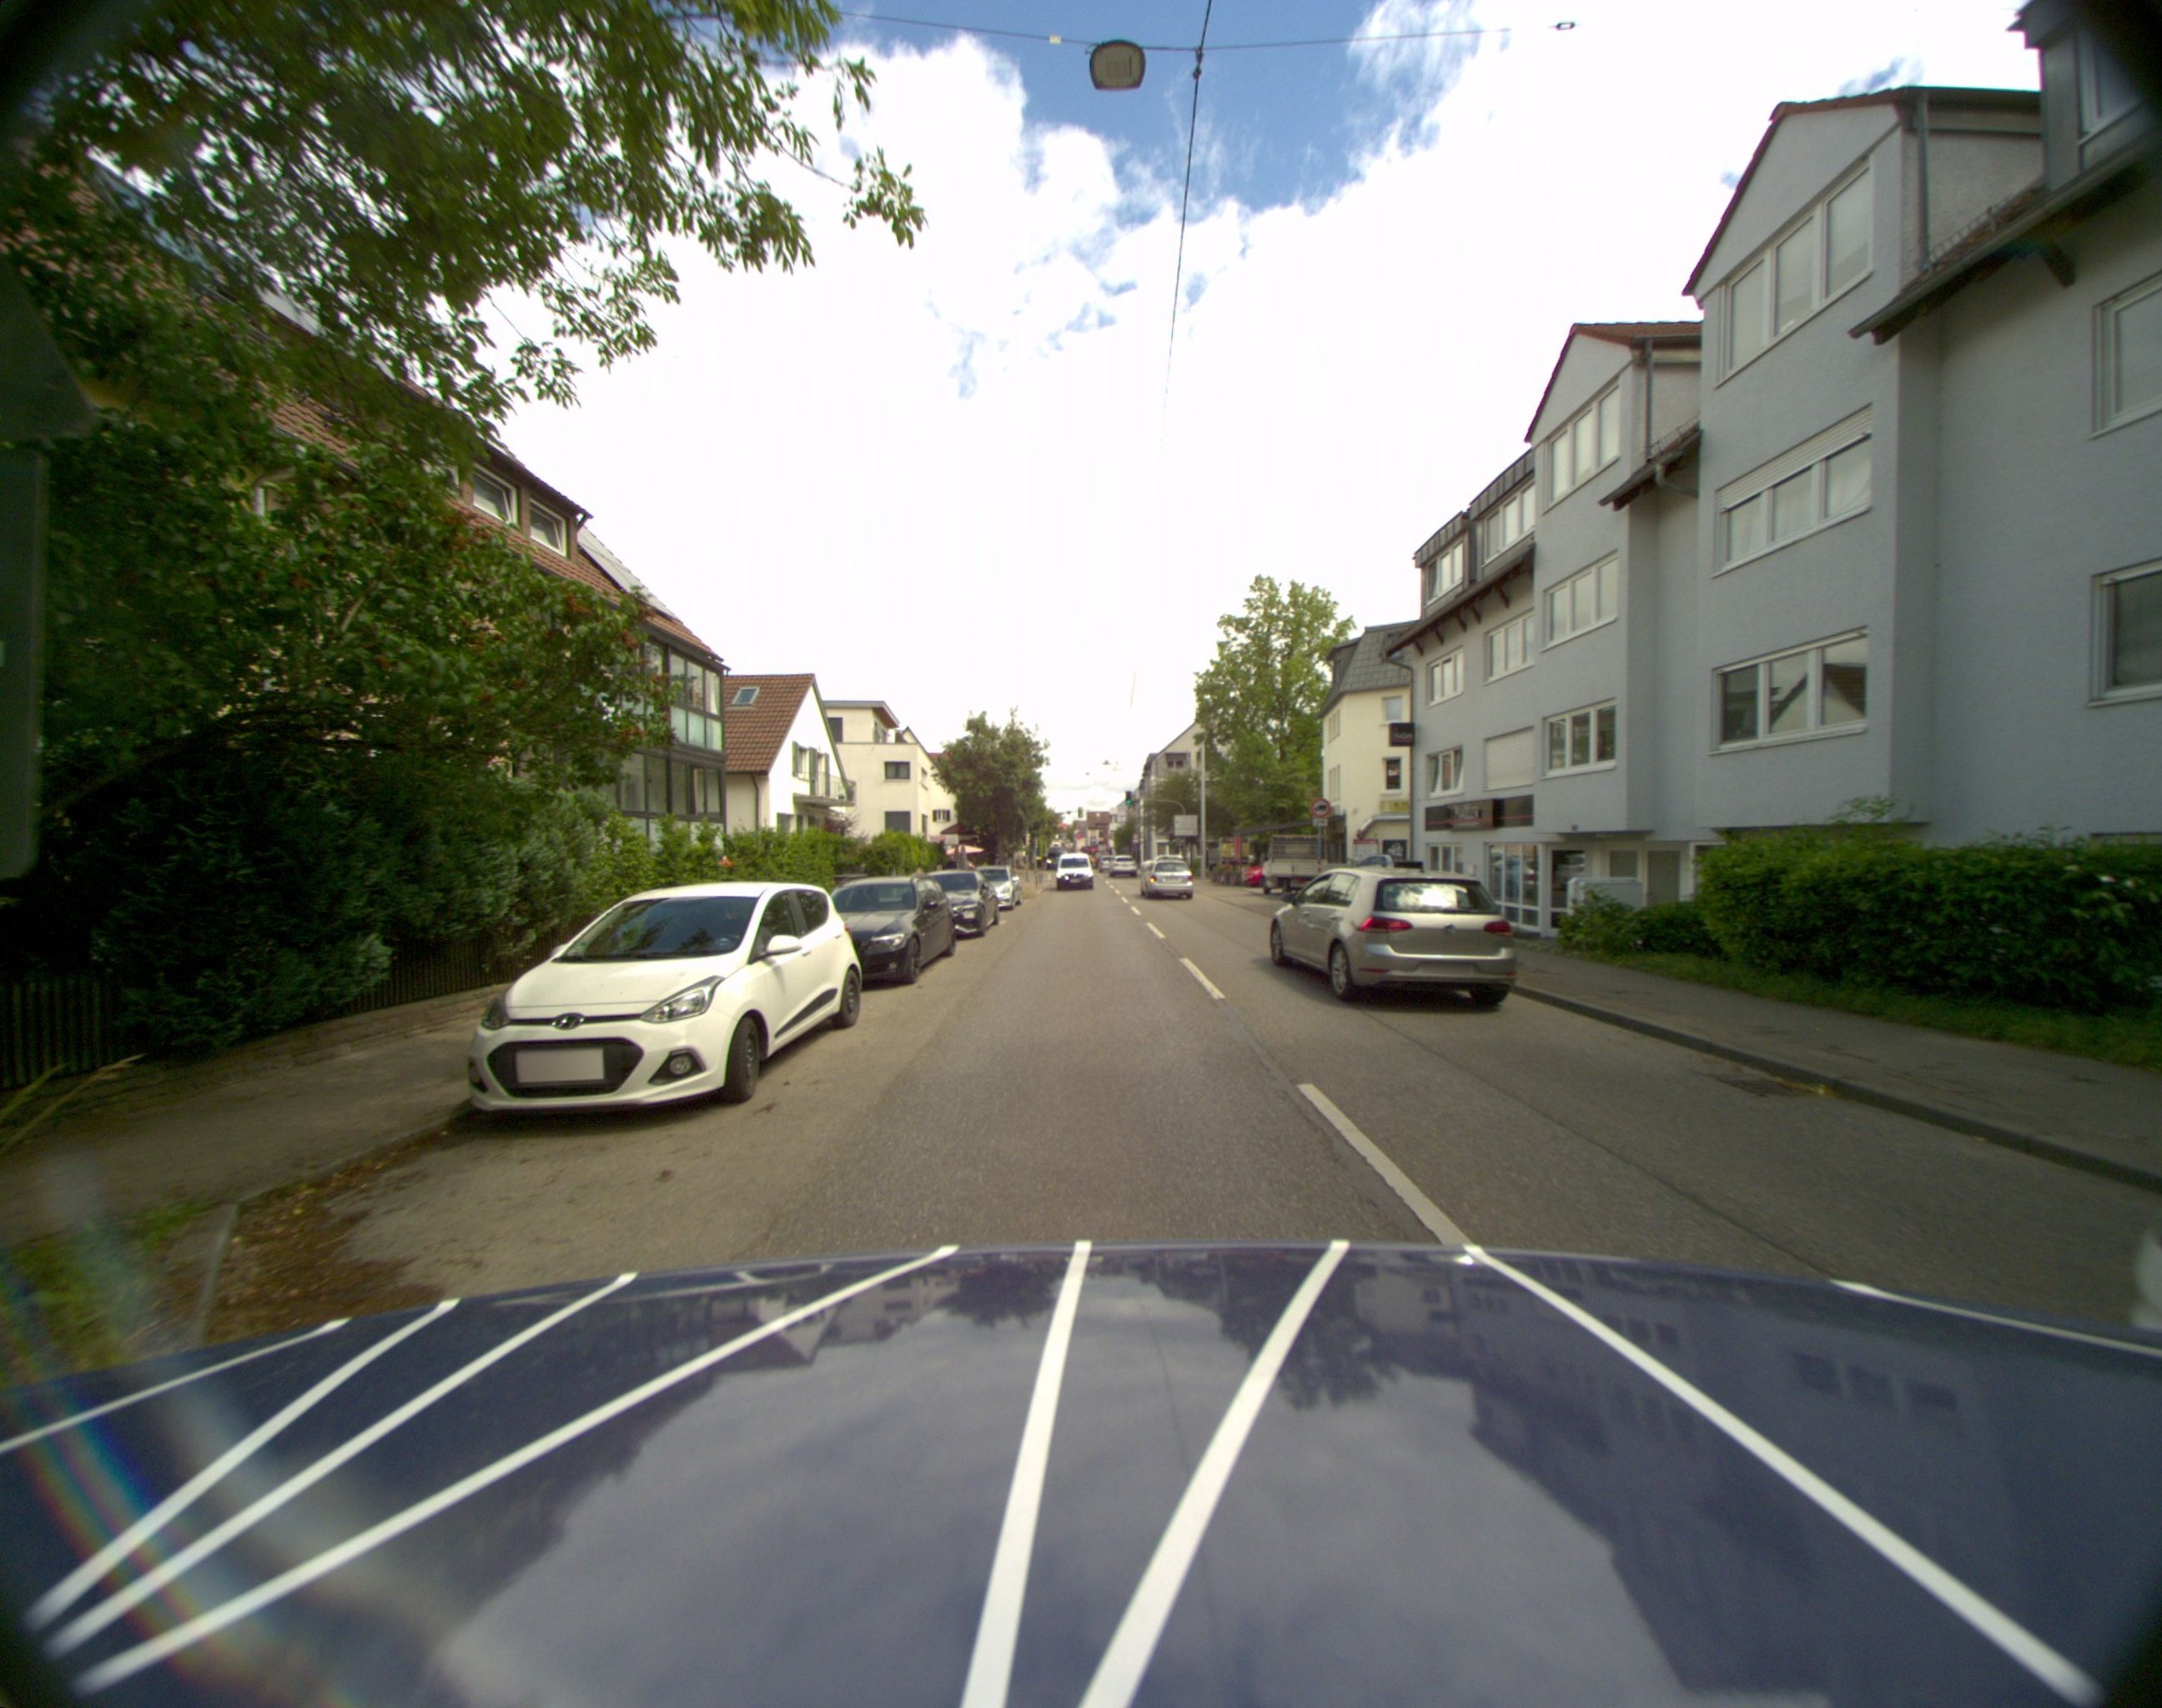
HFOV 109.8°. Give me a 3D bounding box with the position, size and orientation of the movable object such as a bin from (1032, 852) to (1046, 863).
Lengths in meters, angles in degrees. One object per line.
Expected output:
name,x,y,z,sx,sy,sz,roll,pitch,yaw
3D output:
movable object such as a bin,-5.050,0.435,90.770,1.188,1.258,1.206,-2,1,-32

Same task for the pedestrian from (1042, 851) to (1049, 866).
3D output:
pedestrian,-4.280,0.580,91.522,0.742,1.772,0.899,-1,1,1

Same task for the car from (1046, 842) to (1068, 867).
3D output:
car,-2.709,0.026,86.902,2.153,2.754,6.249,-1,1,1

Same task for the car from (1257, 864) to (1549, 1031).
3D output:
car,3.572,0.925,9.404,1.714,1.447,4.286,2,1,0

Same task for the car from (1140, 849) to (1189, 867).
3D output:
car,7.651,0.410,70.036,4.222,1.504,1.822,-2,0,0

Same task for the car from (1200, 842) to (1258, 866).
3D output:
car,12.990,-0.010,66.788,4.633,1.997,2.095,-2,1,-3

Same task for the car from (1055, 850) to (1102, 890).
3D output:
car,-0.064,0.725,38.311,1.870,1.805,5.008,-2,1,5

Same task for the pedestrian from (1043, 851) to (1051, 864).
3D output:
pedestrian,-4.185,0.447,93.654,0.786,1.633,0.798,-1,1,5

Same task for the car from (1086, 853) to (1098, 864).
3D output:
car,1.675,0.701,116.915,1.732,1.529,4.000,-2,0,-1

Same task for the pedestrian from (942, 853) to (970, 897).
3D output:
pedestrian,-4.962,0.827,30.179,0.882,1.703,0.842,-1,2,2

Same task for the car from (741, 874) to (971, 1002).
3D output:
car,-3.093,1.091,11.607,1.998,1.415,4.588,-1,0,2

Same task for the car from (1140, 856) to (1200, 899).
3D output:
car,3.373,0.855,29.455,1.733,1.494,4.375,1,0,-1

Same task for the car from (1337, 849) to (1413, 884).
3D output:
car,13.191,0.542,34.103,2.839,1.462,1.569,0,2,39

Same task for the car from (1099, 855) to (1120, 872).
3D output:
car,2.574,0.860,69.551,1.621,1.478,3.812,-1,0,-2

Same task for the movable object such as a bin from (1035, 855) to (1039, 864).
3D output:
movable object such as a bin,-5.161,0.650,89.549,0.410,0.933,0.273,2,1,-12

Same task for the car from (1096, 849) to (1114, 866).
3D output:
car,2.825,0.356,90.853,1.882,1.901,4.750,-2,0,-2

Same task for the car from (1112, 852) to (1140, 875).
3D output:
car,3.284,0.680,56.081,1.810,1.562,4.158,1,1,0

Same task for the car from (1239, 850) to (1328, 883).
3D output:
car,9.614,0.589,36.224,3.703,1.417,1.804,-2,1,-4

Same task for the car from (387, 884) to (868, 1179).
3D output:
car,-3.103,1.084,6.207,1.626,1.499,3.779,-1,0,0

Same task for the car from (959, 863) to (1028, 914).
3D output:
car,-2.893,1.112,26.181,1.705,1.472,4.872,-3,0,0

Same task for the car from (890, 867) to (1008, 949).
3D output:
car,-2.858,1.114,17.514,1.738,1.420,4.882,-4,0,0

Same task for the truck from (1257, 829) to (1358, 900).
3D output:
truck,8.413,0.305,28.898,2.229,2.366,6.325,-1,1,3

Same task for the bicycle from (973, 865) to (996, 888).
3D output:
bicycle,-5.263,1.233,41.488,0.722,1.144,2.213,-1,1,6
